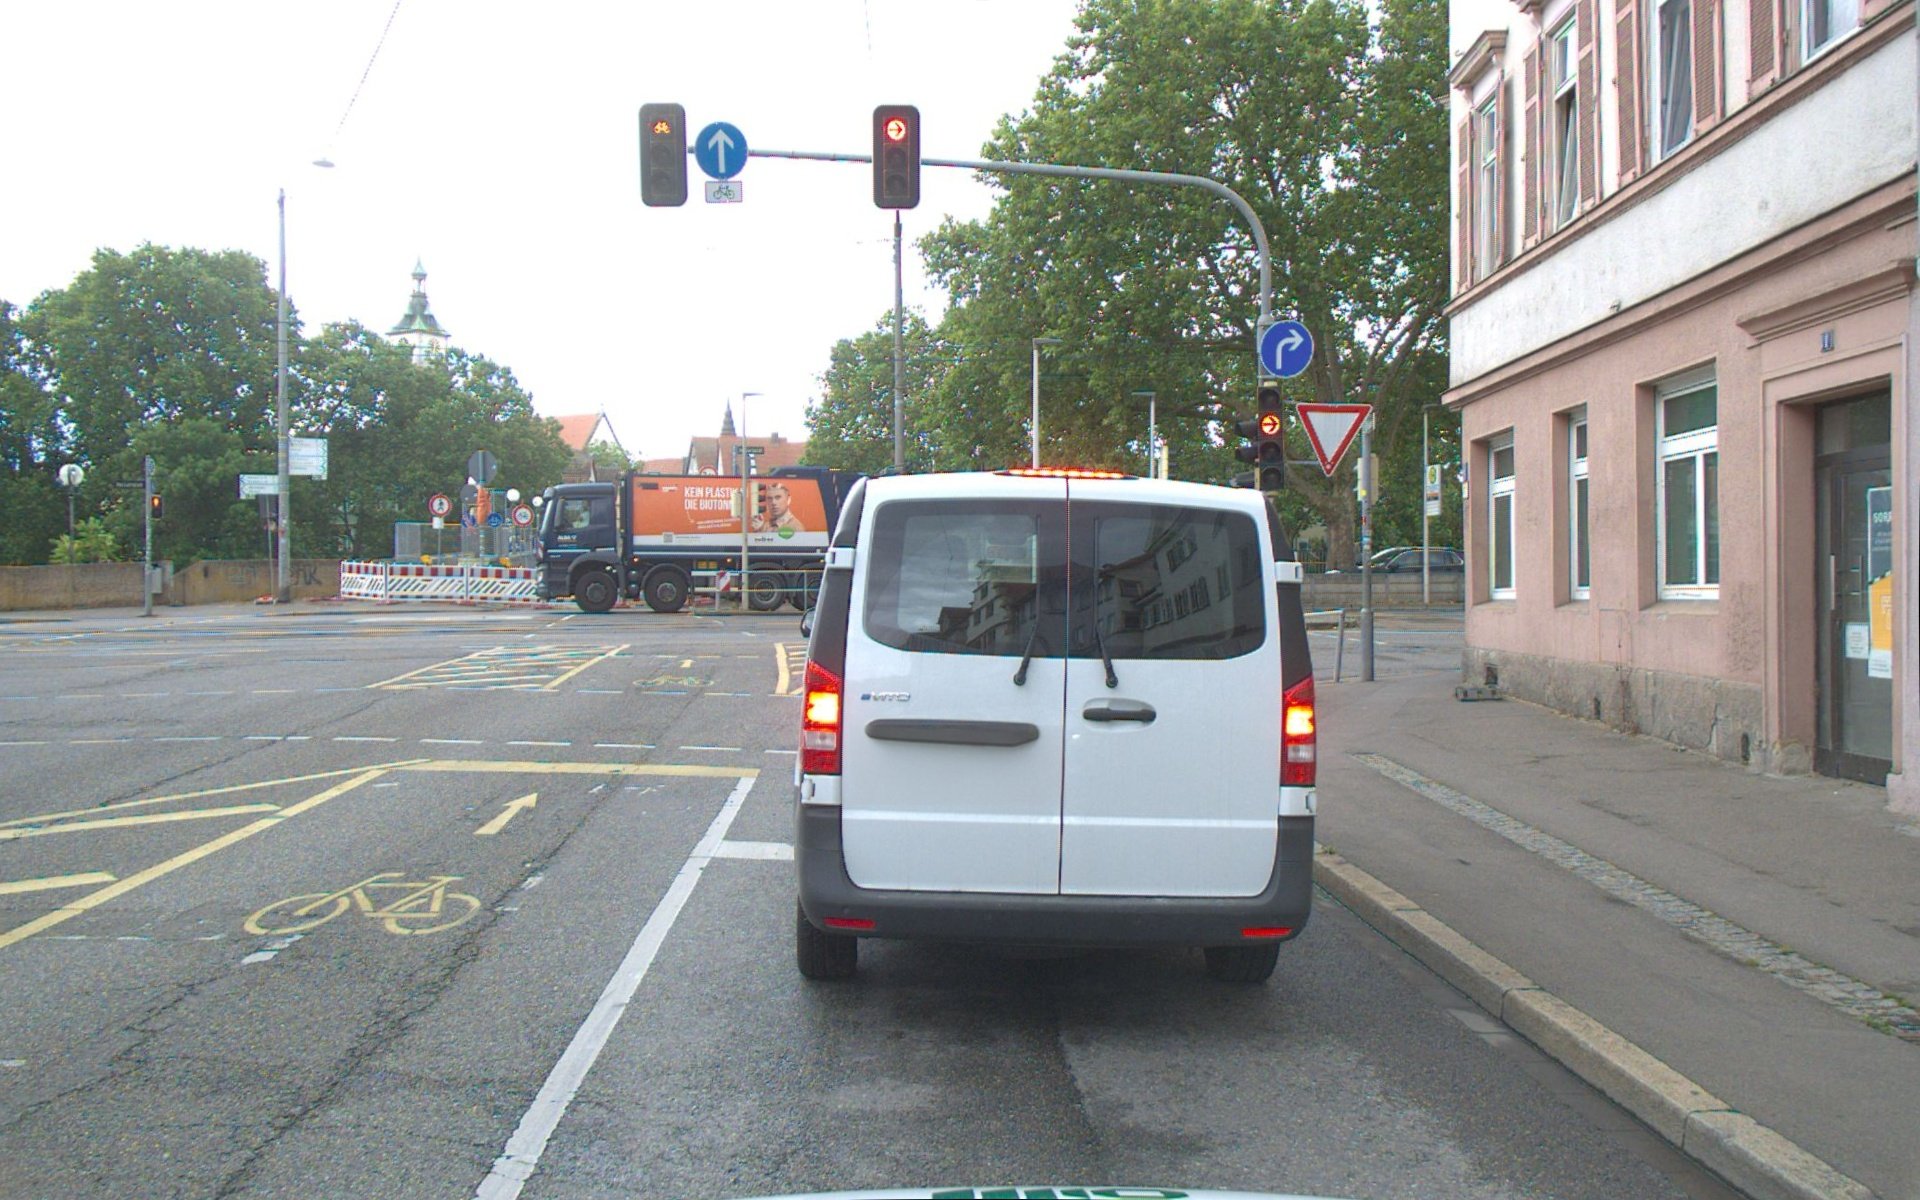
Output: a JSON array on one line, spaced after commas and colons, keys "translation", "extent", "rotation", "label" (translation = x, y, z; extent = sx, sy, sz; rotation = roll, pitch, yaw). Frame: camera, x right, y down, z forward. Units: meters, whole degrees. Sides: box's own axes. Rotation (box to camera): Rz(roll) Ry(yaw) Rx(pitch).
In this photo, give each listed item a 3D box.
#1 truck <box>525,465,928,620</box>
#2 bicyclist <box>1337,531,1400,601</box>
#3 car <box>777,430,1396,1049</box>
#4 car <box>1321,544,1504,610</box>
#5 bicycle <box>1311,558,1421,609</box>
[{"translation": [-5.925, -1.424, 42.431], "extent": [10.009, 3.760, 2.263], "rotation": [0, 0, -13], "label": "truck"}, {"translation": [12.933, -1.073, 52.413], "extent": [1.538, 2.194, 1.243], "rotation": [0, 0, -15], "label": "bicyclist"}, {"translation": [0.314, 0.382, 7.390], "extent": [1.954, 1.956, 4.247], "rotation": [1, 2, -3], "label": "car"}, {"translation": [12.461, -0.631, 45.661], "extent": [4.435, 1.663, 1.996], "rotation": [-2, 0, -9], "label": "car"}, {"translation": [12.867, -0.527, 52.438], "extent": [3.092, 1.597, 1.465], "rotation": [0, 0, -15], "label": "bicycle"}]
